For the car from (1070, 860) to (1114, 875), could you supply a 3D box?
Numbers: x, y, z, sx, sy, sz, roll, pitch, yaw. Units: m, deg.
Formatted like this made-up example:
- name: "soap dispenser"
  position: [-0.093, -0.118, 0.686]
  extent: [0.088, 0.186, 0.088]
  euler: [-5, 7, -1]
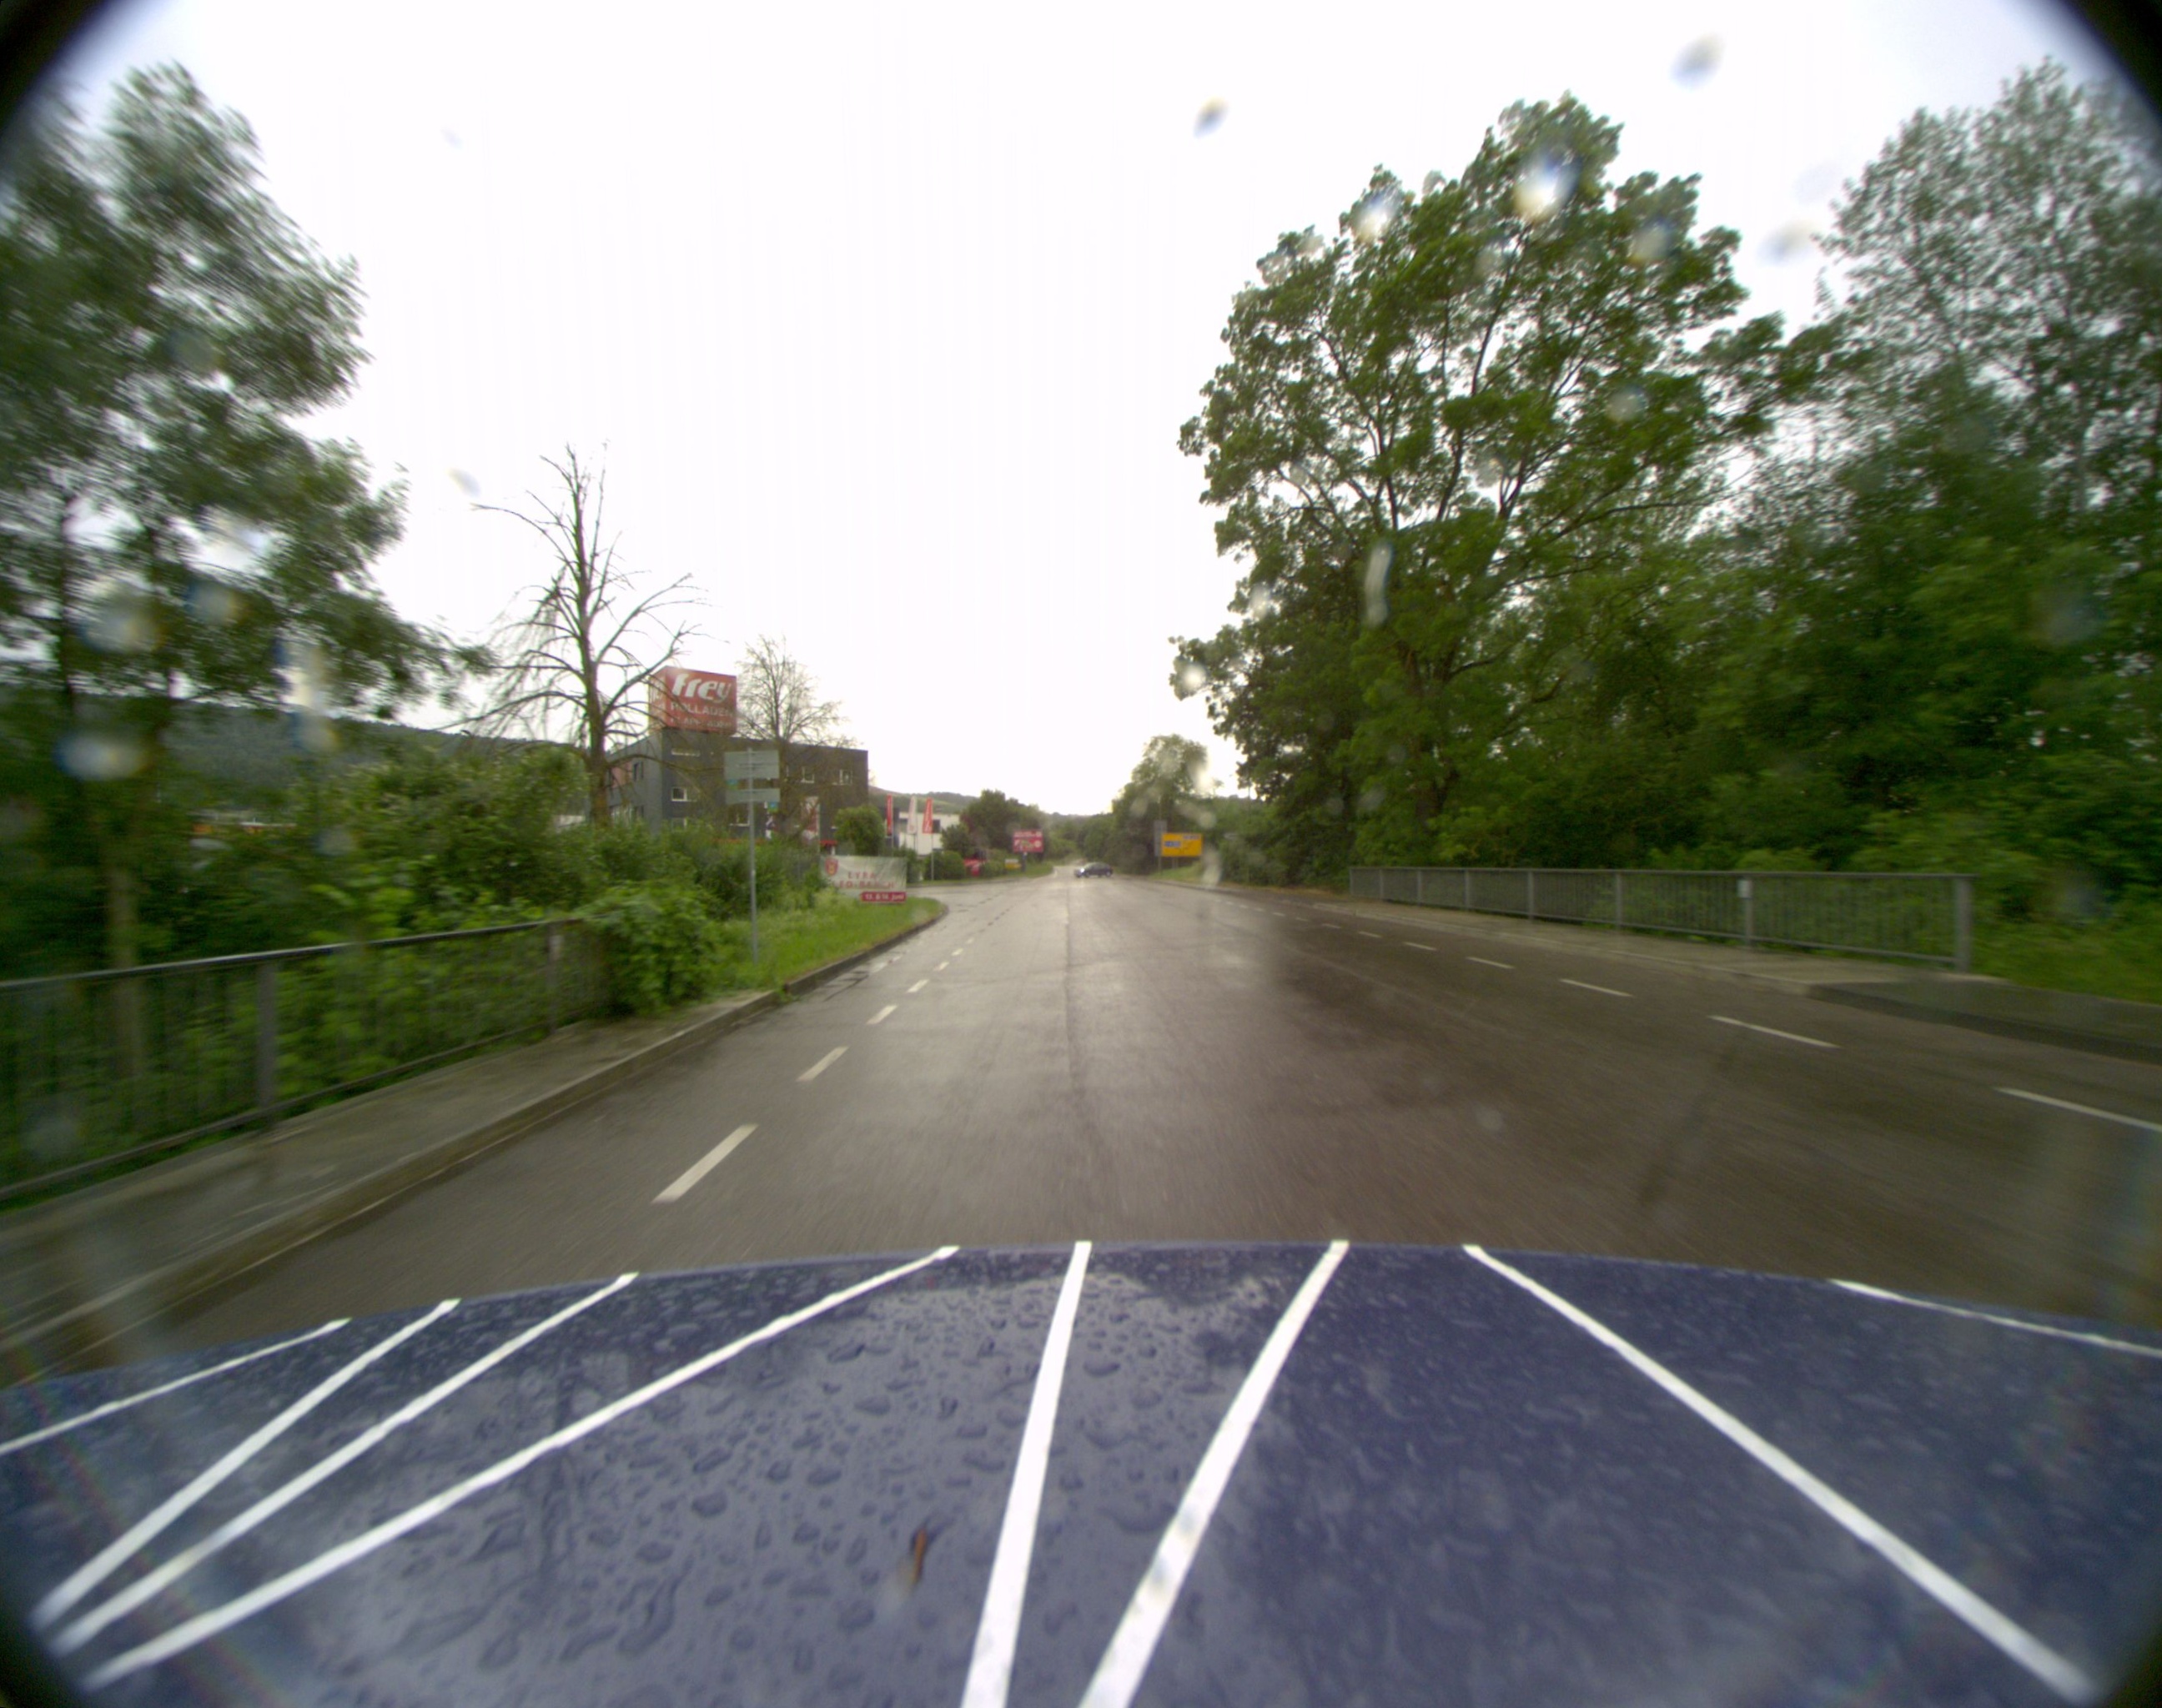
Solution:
- name: "car"
  position: [1.168, 1.408, 78.232]
  extent: [4.127, 1.481, 1.853]
  euler: [0, 0, -29]

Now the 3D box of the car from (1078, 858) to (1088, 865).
- name: "car"
  position: [0.398, 1.507, 153.949]
  extent: [1.834, 1.514, 4.000]
  euler: [-1, 0, 1]
